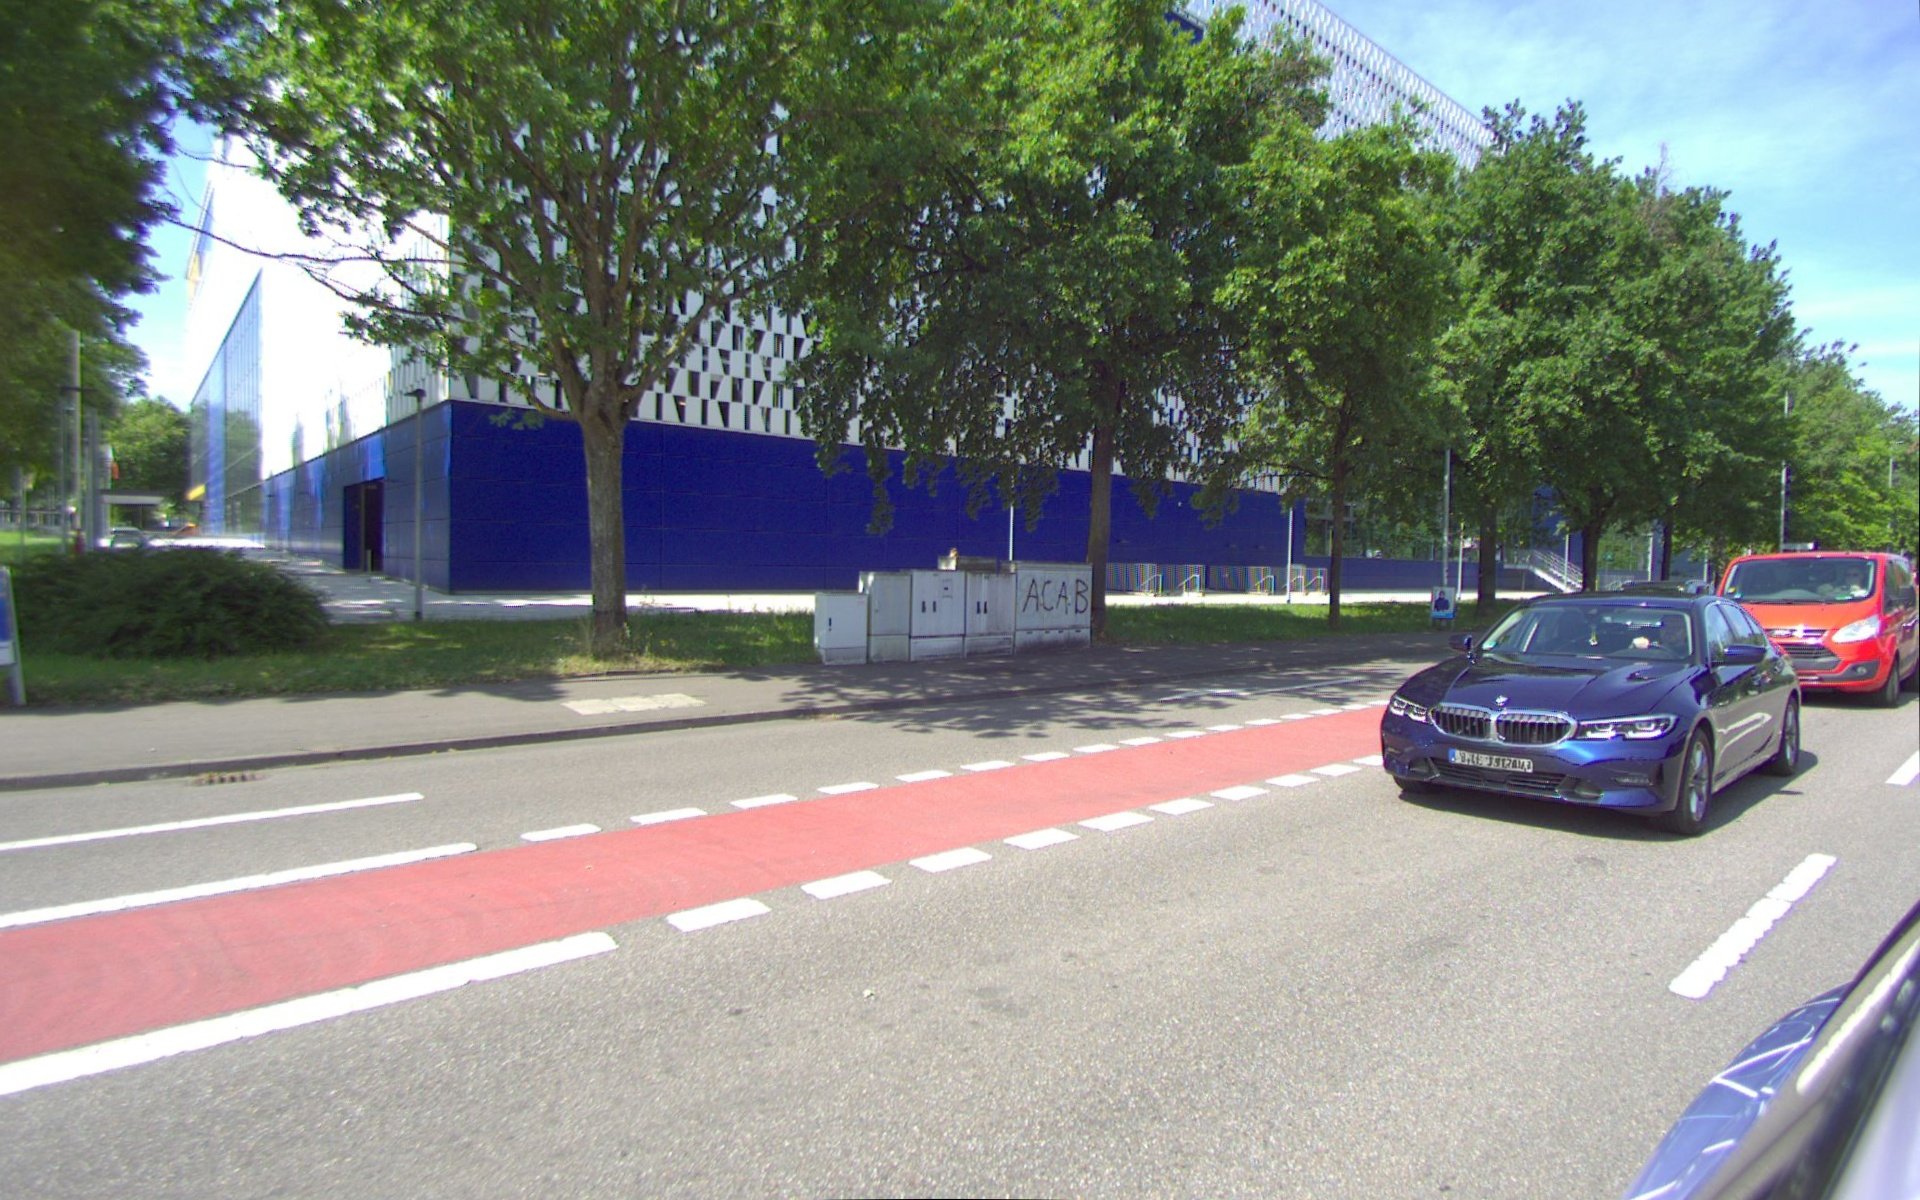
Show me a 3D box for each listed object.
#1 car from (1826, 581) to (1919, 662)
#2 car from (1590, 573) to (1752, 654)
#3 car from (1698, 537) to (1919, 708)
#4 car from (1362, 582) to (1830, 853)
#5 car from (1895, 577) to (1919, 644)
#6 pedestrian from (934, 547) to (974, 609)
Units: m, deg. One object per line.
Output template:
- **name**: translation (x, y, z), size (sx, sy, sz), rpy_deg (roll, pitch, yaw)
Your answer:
- **car**: translation (18.356, 0.352, 19.793), size (3.849, 1.440, 1.690), rpy_deg (-1, 1, -42)
- **car**: translation (16.366, 0.230, 23.224), size (4.313, 1.676, 1.998), rpy_deg (-1, 1, -40)
- **car**: translation (11.856, 0.219, 13.746), size (4.727, 1.931, 2.012), rpy_deg (-1, 1, -42)
- **car**: translation (4.948, 0.591, 7.579), size (4.460, 1.447, 1.798), rpy_deg (-1, 1, -42)
- **car**: translation (24.132, 0.218, 24.654), size (3.932, 1.559, 1.647), rpy_deg (-1, 0, -42)
- **pedestrian**: translation (-0.154, -0.582, 26.477), size (0.767, 1.565, 0.680), rpy_deg (-1, 2, -40)
